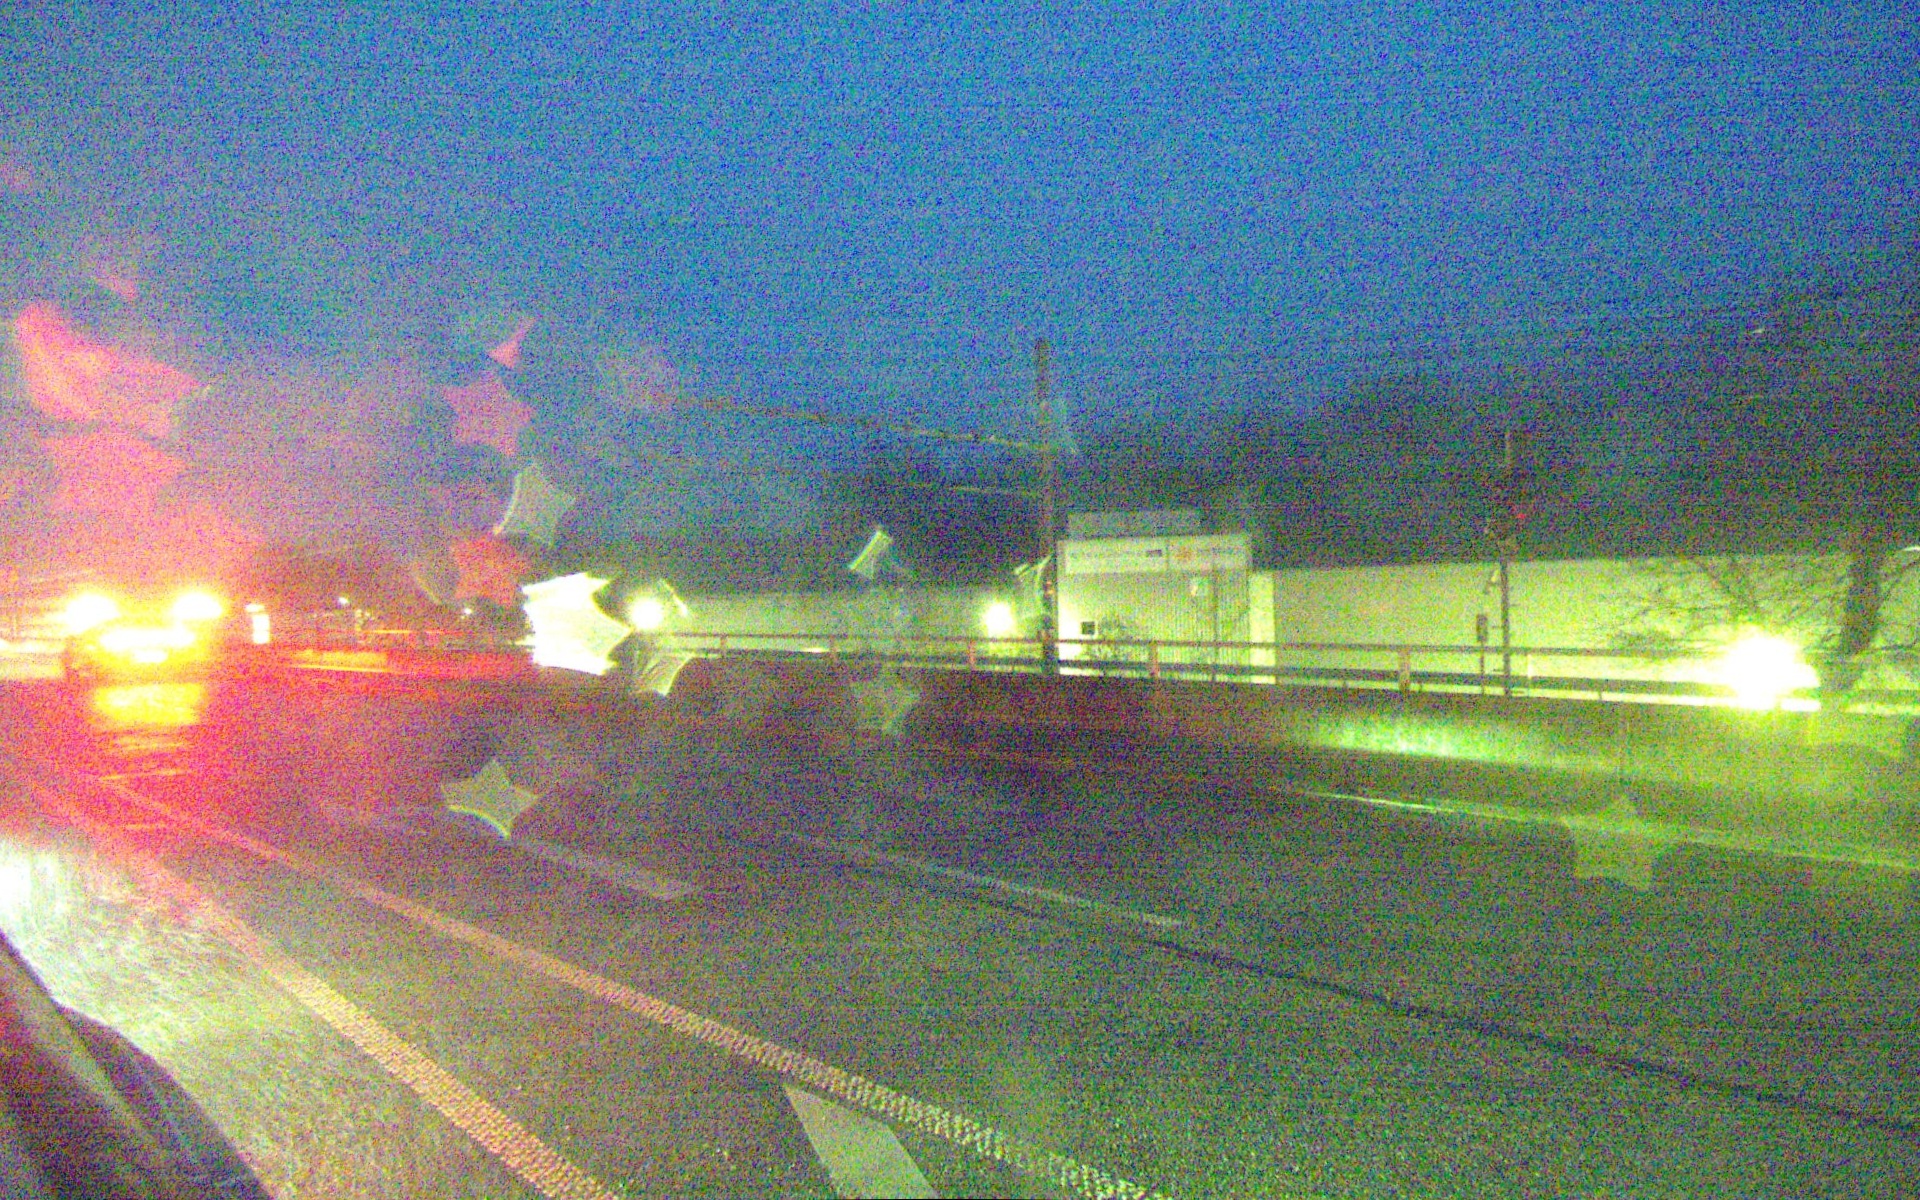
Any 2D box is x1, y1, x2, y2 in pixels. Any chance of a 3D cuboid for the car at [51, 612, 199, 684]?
[{"bbox_3d":[-20.306,1.171,24.545,4.479,1.580,1.870,-3,-2,38],"label":"car"}]
